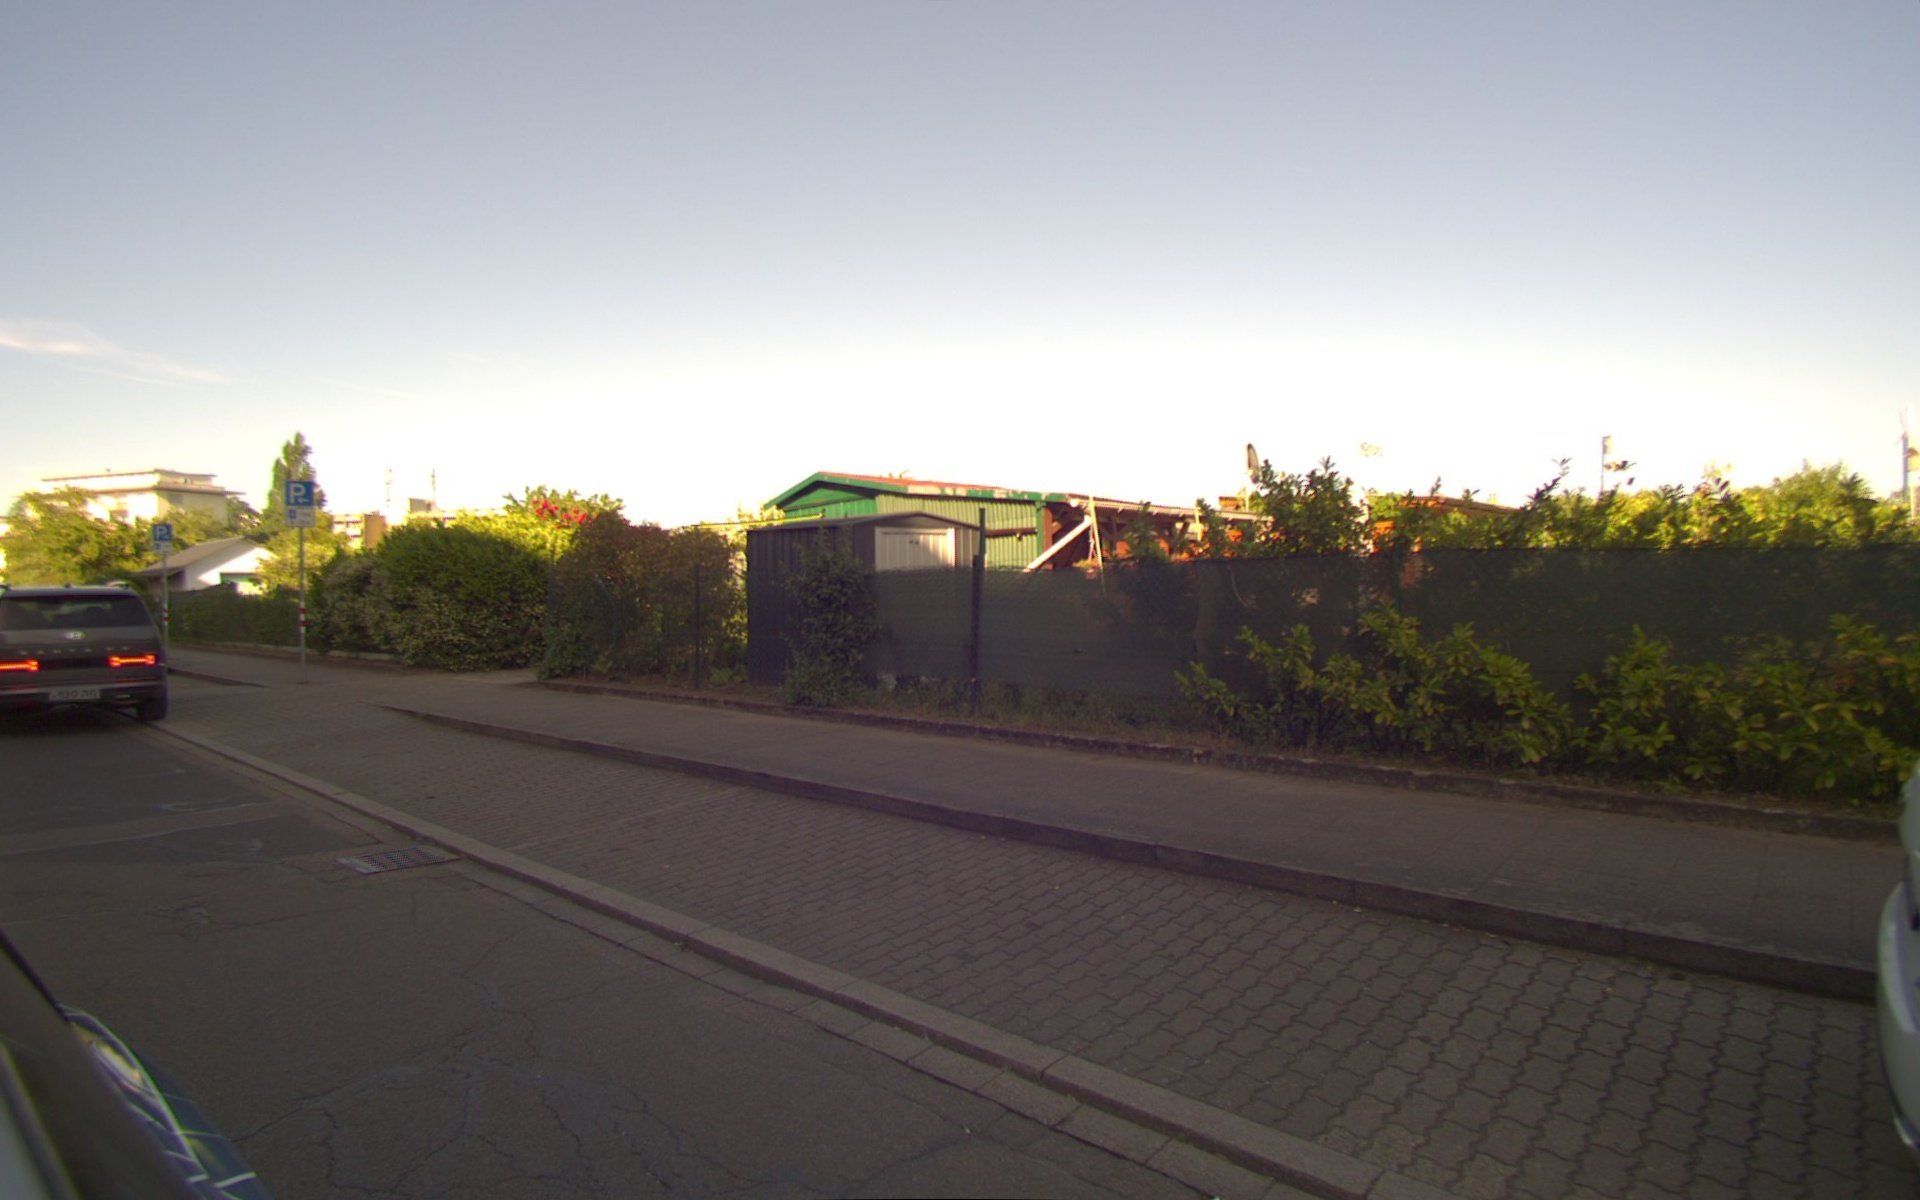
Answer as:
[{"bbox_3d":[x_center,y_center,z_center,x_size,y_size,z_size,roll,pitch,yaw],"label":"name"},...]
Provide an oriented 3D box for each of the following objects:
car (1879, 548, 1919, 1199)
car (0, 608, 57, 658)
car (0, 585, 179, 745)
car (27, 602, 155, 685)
[{"bbox_3d":[3.803,0.619,0.786,4.541,1.456,1.729,-1,3,43],"label":"car"},{"bbox_3d":[-30.525,1.049,32.522,4.516,1.434,1.678,-1,3,42],"label":"car"},{"bbox_3d":[-11.804,0.749,13.141,4.839,1.740,1.921,-1,-1,44],"label":"car"},{"bbox_3d":[-17.706,0.833,20.580,3.401,1.499,1.511,-1,1,42],"label":"car"}]
